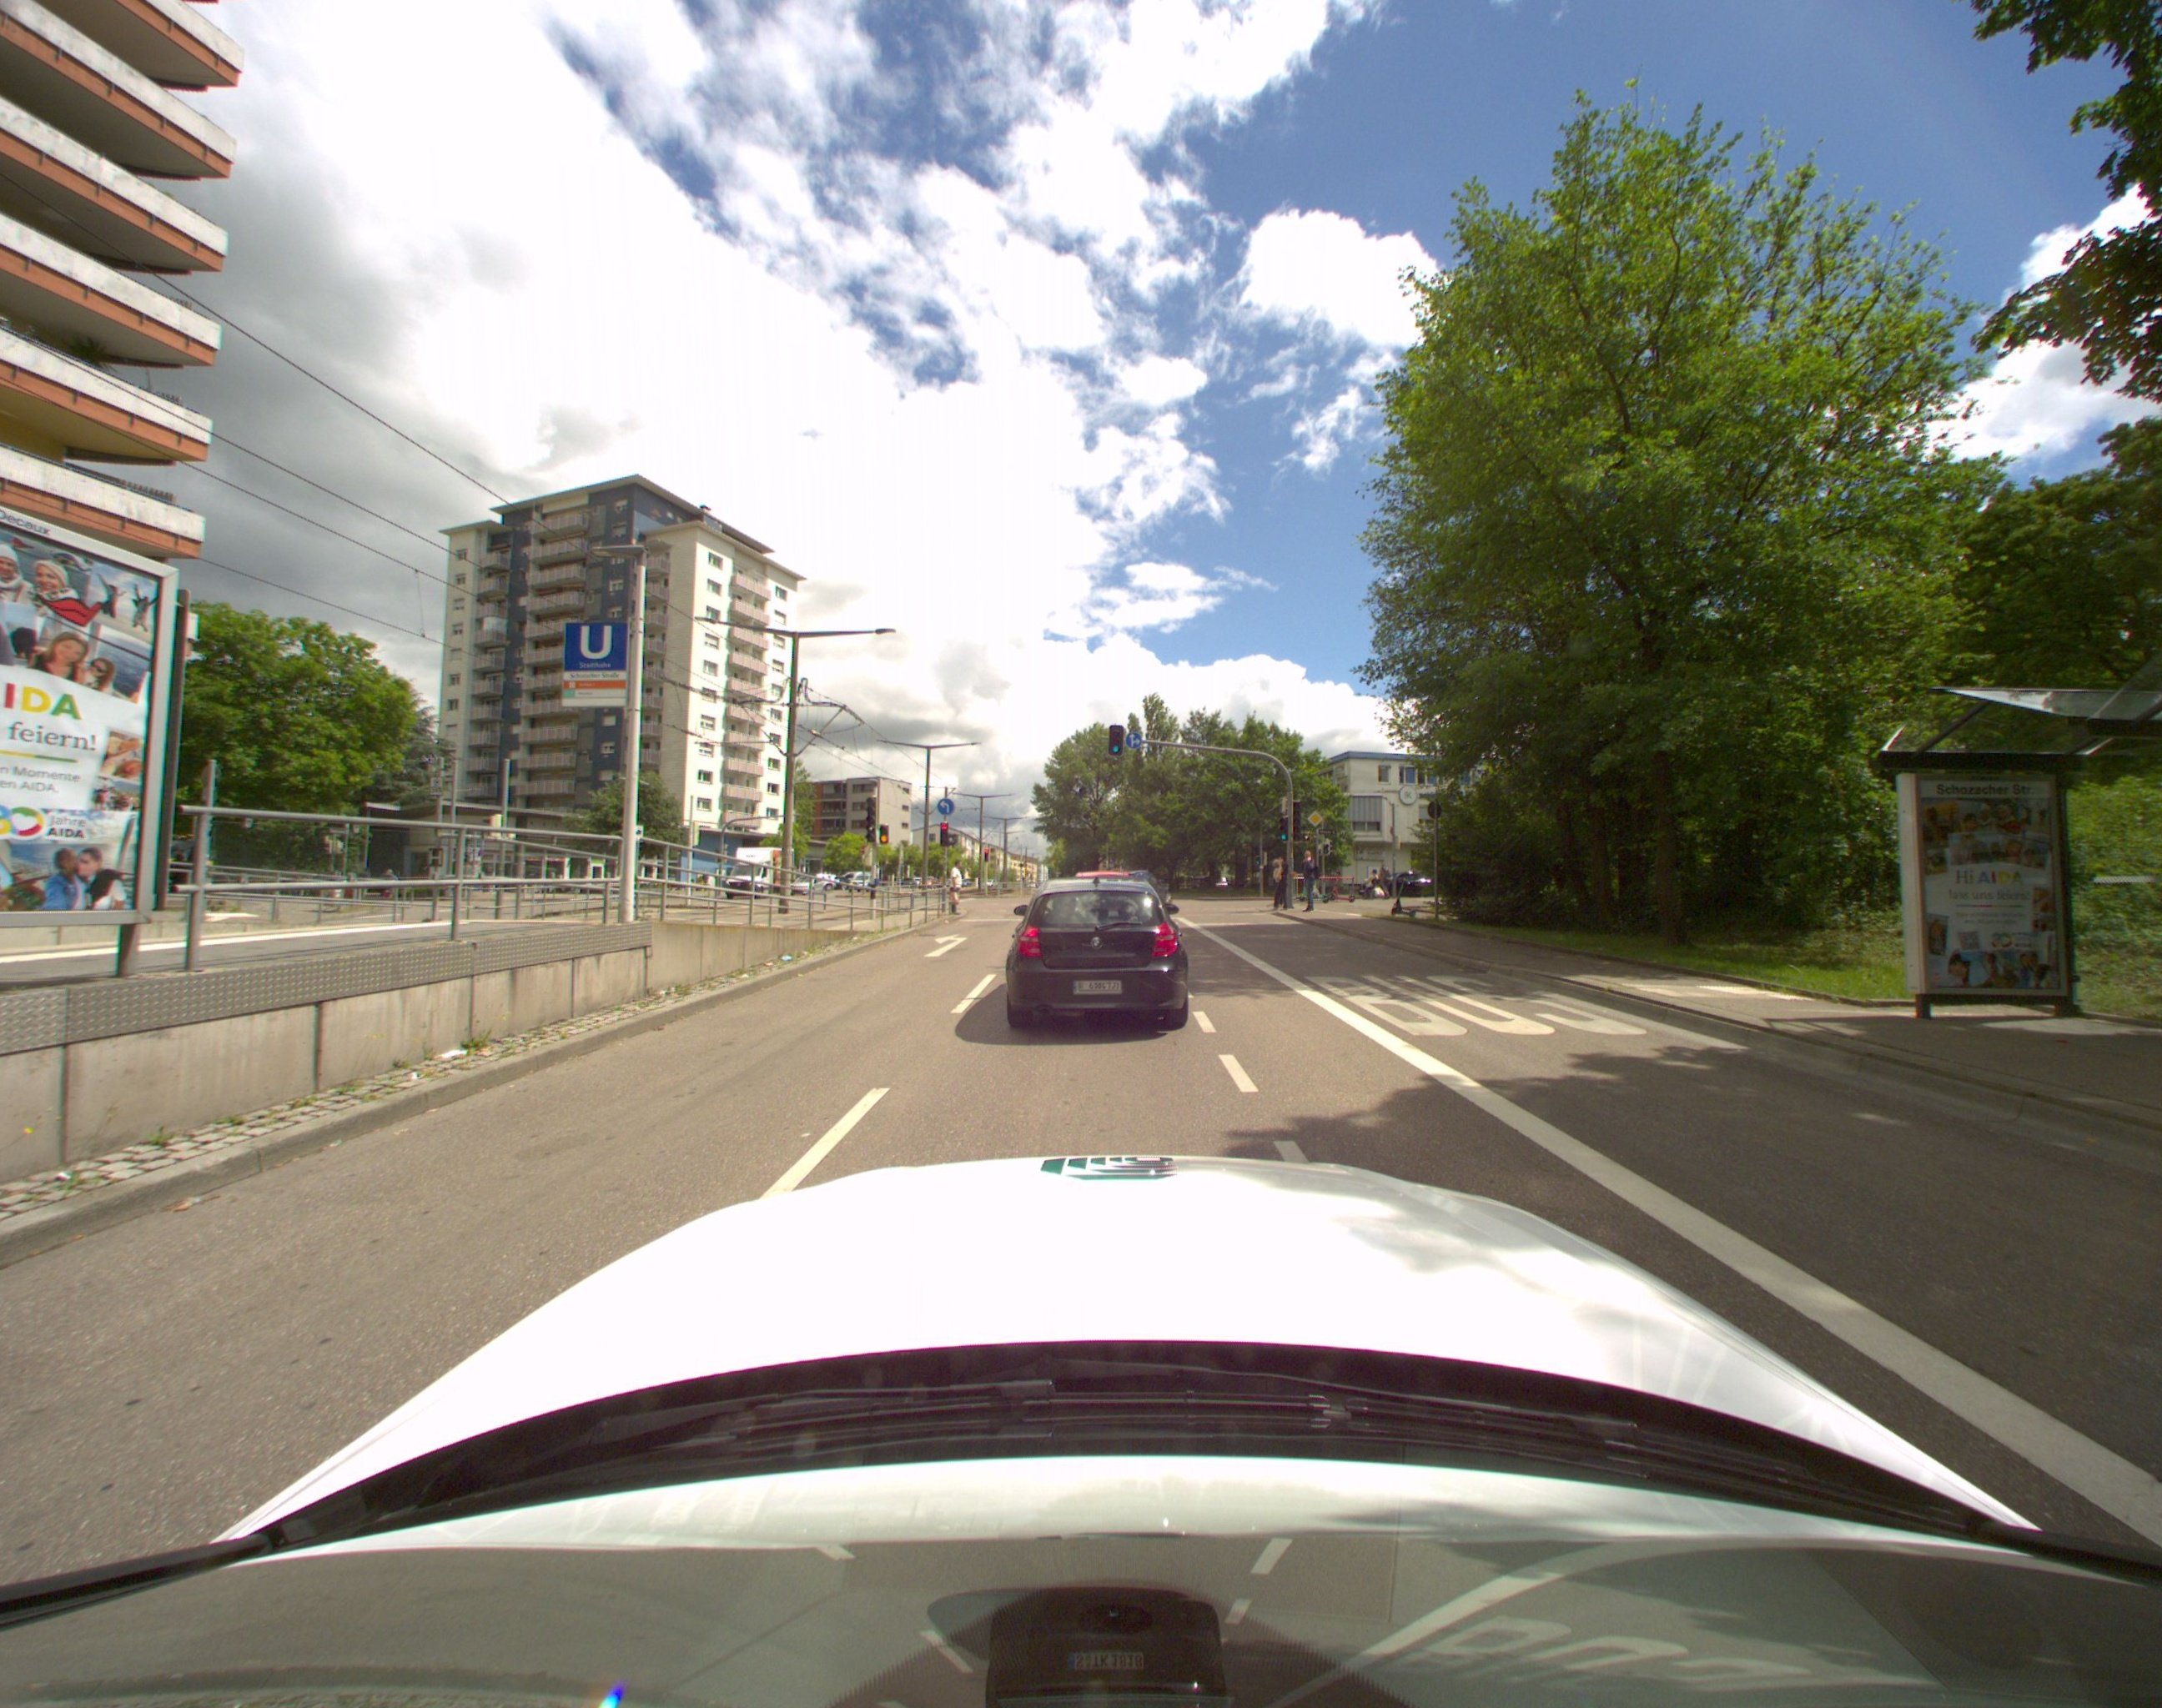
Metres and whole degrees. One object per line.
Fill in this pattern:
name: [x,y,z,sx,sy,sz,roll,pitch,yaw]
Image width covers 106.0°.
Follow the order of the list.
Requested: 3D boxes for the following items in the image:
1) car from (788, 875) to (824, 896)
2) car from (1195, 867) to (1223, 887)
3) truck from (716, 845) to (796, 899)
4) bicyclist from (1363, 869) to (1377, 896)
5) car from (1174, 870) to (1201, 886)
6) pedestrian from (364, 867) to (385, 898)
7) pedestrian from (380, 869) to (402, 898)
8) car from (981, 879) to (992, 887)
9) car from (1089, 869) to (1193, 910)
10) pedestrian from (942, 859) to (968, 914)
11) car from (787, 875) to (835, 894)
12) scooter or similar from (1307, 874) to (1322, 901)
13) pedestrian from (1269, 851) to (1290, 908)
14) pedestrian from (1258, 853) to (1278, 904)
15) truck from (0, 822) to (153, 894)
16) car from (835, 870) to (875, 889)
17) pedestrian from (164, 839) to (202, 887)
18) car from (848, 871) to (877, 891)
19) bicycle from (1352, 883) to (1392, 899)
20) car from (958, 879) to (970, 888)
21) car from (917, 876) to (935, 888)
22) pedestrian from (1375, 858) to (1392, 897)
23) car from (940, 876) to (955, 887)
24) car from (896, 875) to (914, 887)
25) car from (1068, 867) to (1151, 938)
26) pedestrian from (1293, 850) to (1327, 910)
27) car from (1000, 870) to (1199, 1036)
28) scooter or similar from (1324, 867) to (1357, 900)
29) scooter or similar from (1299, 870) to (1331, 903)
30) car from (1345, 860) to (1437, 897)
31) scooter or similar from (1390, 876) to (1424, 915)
car: [-20.527,2.343,60.983,1.402,1.461,3.773,0,-1,0]
car: [12.247,2.192,78.106,1.724,1.871,3.990,0,-1,-7]
truck: [-20.140,1.100,50.952,2.275,3.118,7.312,0,-1,-2]
bicyclist: [12.610,1.226,35.523,0.505,1.157,0.395,1,-2,-40]
car: [11.567,2.584,88.962,1.862,1.662,3.987,0,-1,-9]
pedestrian: [-37.604,1.512,43.352,0.365,1.671,0.718,0,-2,5]
pedestrian: [-35.101,1.512,41.452,0.557,1.468,0.662,0,-1,-7]
car: [-18.293,5.607,157.904,1.646,1.534,3.871,0,-1,0]
car: [2.334,1.264,30.384,1.882,1.422,4.567,-1,-1,33]
pedestrian: [-4.066,1.053,26.309,0.685,1.734,0.688,-1,-1,1]
car: [-25.529,2.881,77.054,3.946,1.647,1.636,1,-1,-44]
scooter or similar: [9.512,1.366,33.209,0.543,1.064,1.267,-1,-1,16]
pedestrian: [6.575,0.842,27.015,0.632,1.876,0.519,0,-1,8]
pedestrian: [6.616,0.866,28.834,0.632,1.766,0.519,0,-1,8]
truck: [-34.554,0.144,27.259,4.262,2.290,2.352,0,-1,2]
car: [-24.455,2.787,88.188,3.944,1.975,1.637,1,-1,-41]
pedestrian: [-33.798,0.342,30.664,0.654,1.776,0.662,0,-1,1]
car: [-20.405,2.494,76.159,1.586,1.756,3.775,0,-1,1]
bicycle: [12.662,1.604,35.464,0.537,0.610,1.571,1,-1,-41]
car: [-20.742,5.215,144.507,1.646,1.534,3.871,0,-1,0]
car: [-20.384,3.625,107.070,1.646,1.534,3.871,0,-1,0]
pedestrian: [13.513,1.043,36.381,0.651,1.713,0.464,-1,-1,28]
car: [-20.424,4.220,125.053,1.646,1.534,3.871,0,-1,0]
car: [-23.962,3.680,111.126,1.586,1.474,3.775,0,-1,1]
car: [0.625,0.989,17.847,1.632,1.400,3.421,0,-1,2]
pedestrian: [7.282,0.829,25.946,0.792,1.876,1.014,0,-2,2]
car: [0.217,0.879,8.669,1.694,1.400,3.421,0,-1,2]
scooter or similar: [10.241,1.176,32.153,1.145,1.272,0.556,1,-1,4]
scooter or similar: [8.965,1.234,31.204,1.105,1.235,0.540,0,-1,4]
car: [17.842,1.396,46.991,4.529,2.014,1.996,0,-1,-6]
scooter or similar: [10.735,1.364,26.848,0.886,1.230,0.455,4,-1,2]
